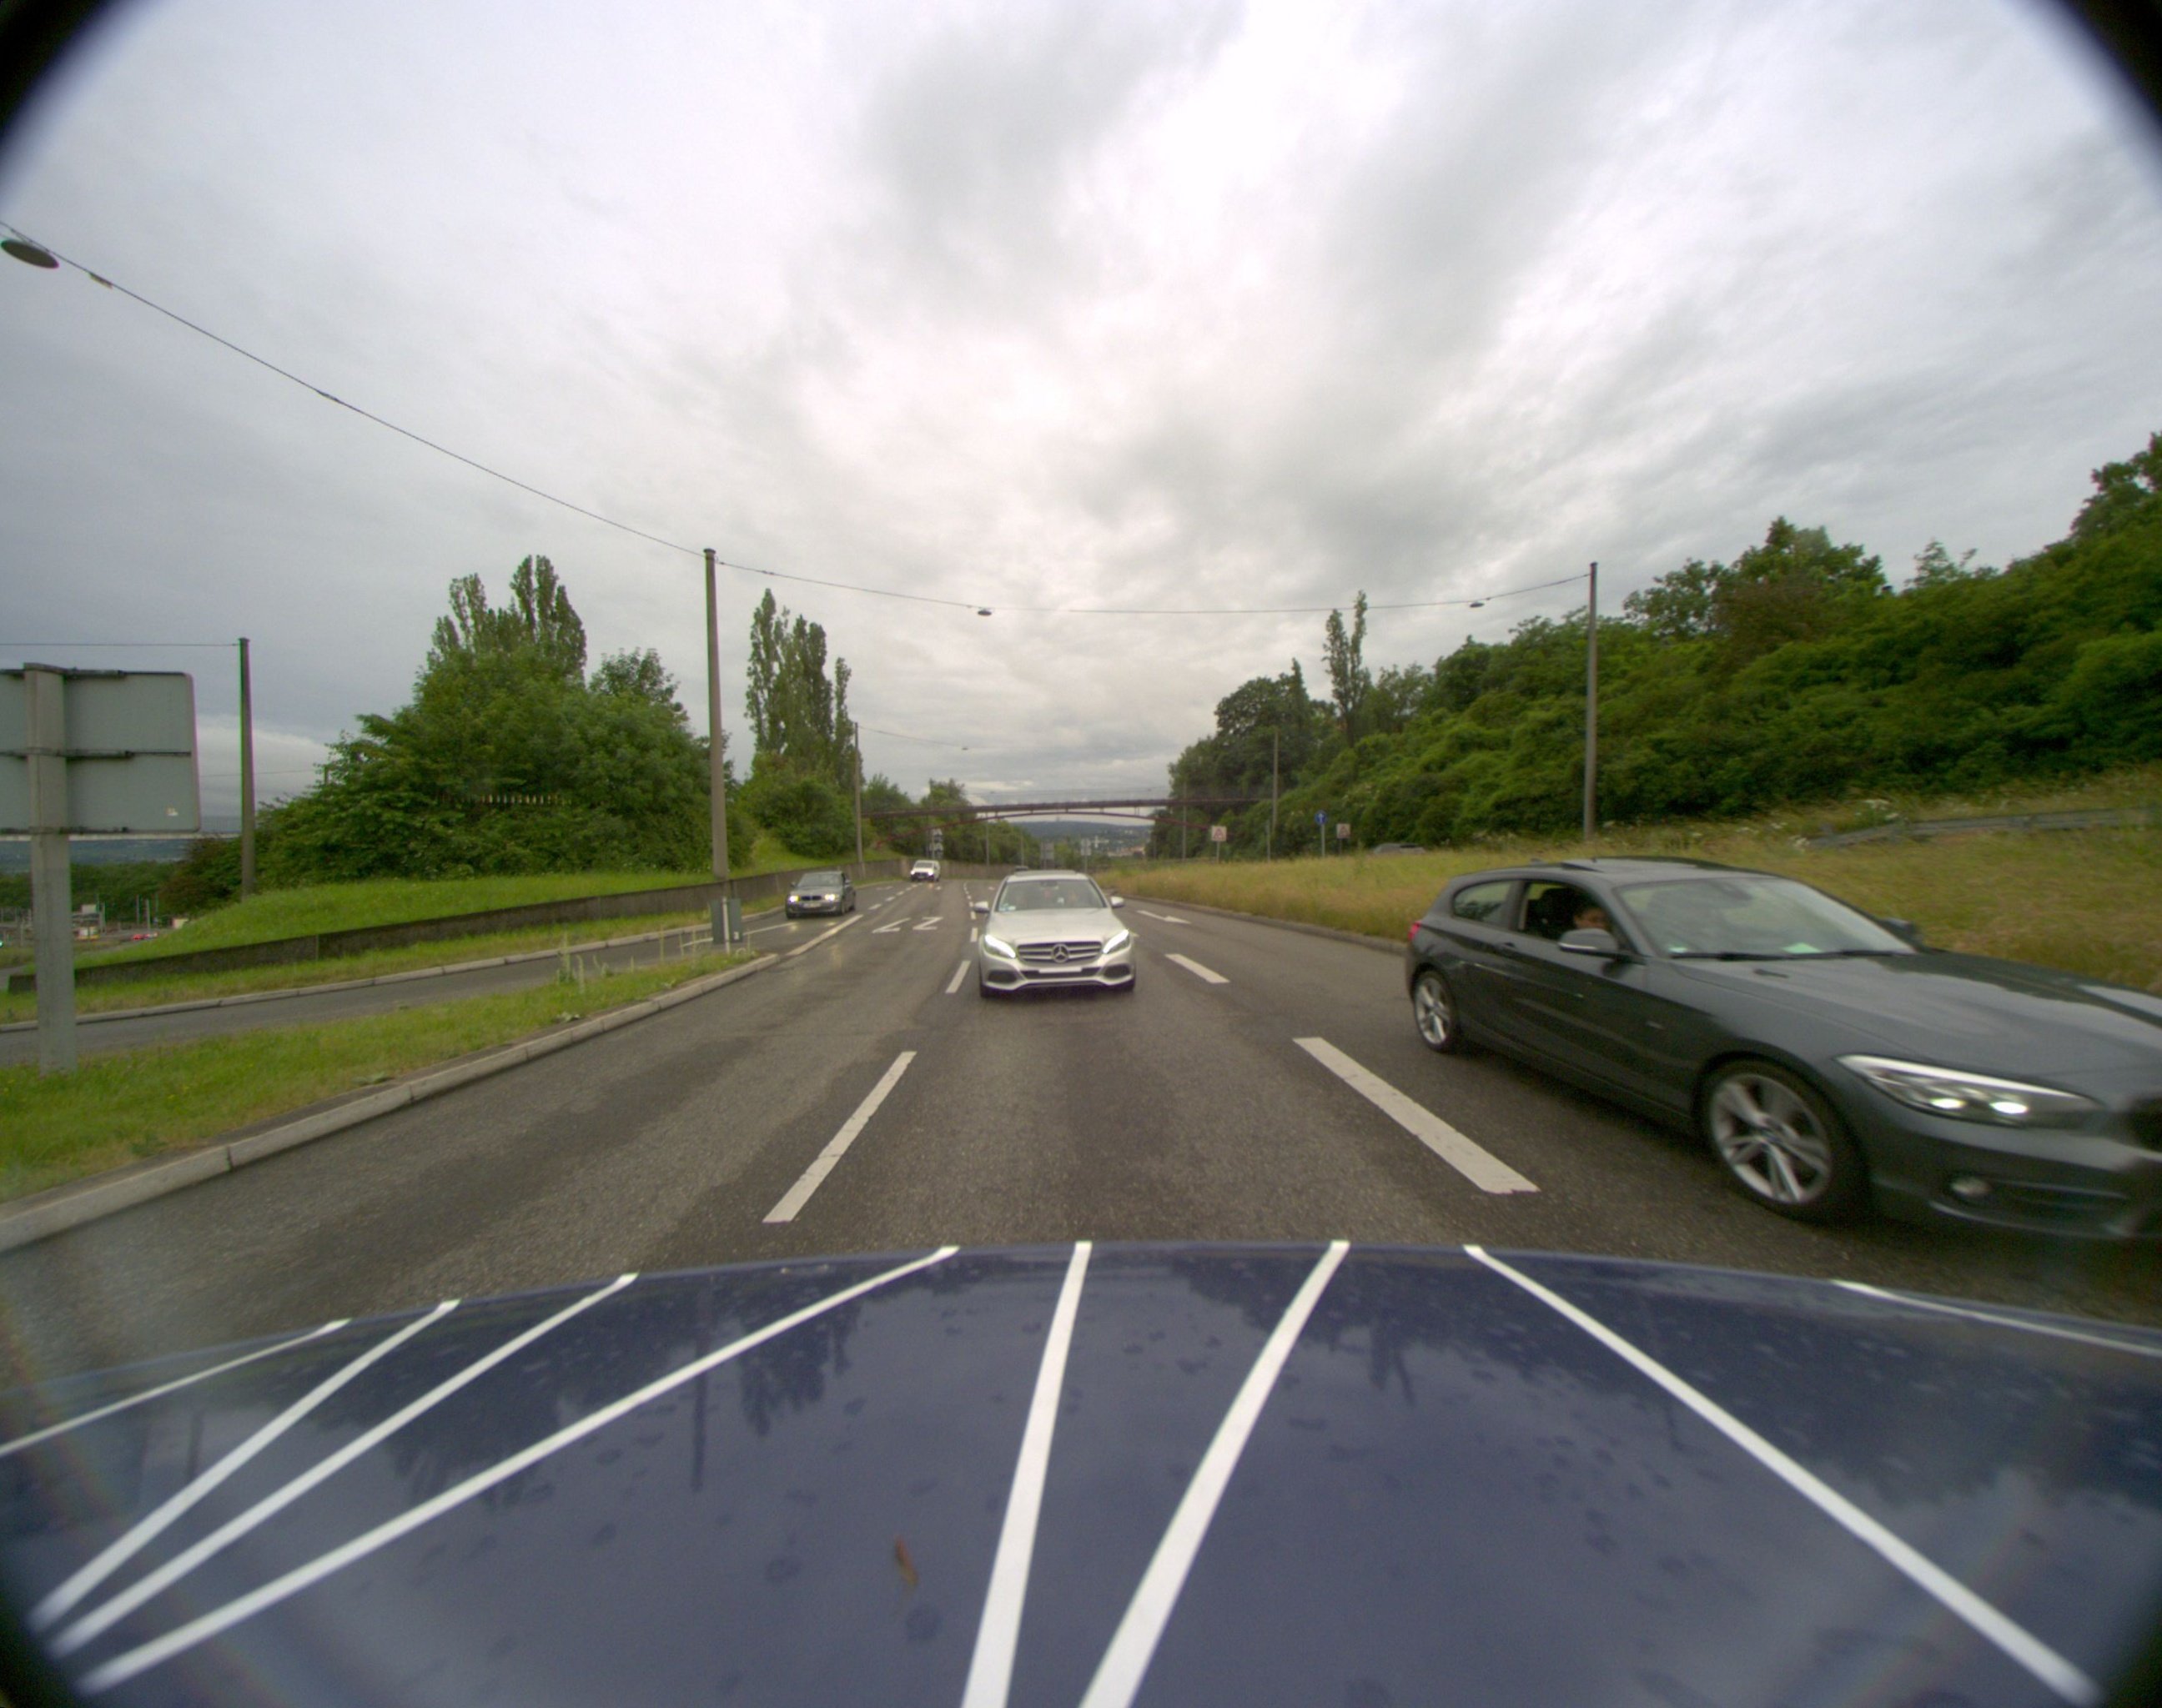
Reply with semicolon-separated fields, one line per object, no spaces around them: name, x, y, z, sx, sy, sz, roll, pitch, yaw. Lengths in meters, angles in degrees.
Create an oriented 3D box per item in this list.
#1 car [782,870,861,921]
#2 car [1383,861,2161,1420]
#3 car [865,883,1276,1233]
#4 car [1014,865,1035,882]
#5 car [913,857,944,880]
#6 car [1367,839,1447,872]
car;-8.402;1.295;24.935;1.685;1.411;4.079;-3;0;-8
car;3.512;0.835;4.260;1.707;1.451;4.112;-2;1;-5
car;-0.179;1.024;5.623;1.895;1.360;4.133;-2;1;-4
car;-5.383;1.864;72.676;1.646;1.495;3.779;-3;-2;-1
car;-13.297;1.217;66.397;1.999;1.837;4.821;0;1;-4
car;15.718;0.032;36.869;1.998;1.445;4.285;-2;1;0
